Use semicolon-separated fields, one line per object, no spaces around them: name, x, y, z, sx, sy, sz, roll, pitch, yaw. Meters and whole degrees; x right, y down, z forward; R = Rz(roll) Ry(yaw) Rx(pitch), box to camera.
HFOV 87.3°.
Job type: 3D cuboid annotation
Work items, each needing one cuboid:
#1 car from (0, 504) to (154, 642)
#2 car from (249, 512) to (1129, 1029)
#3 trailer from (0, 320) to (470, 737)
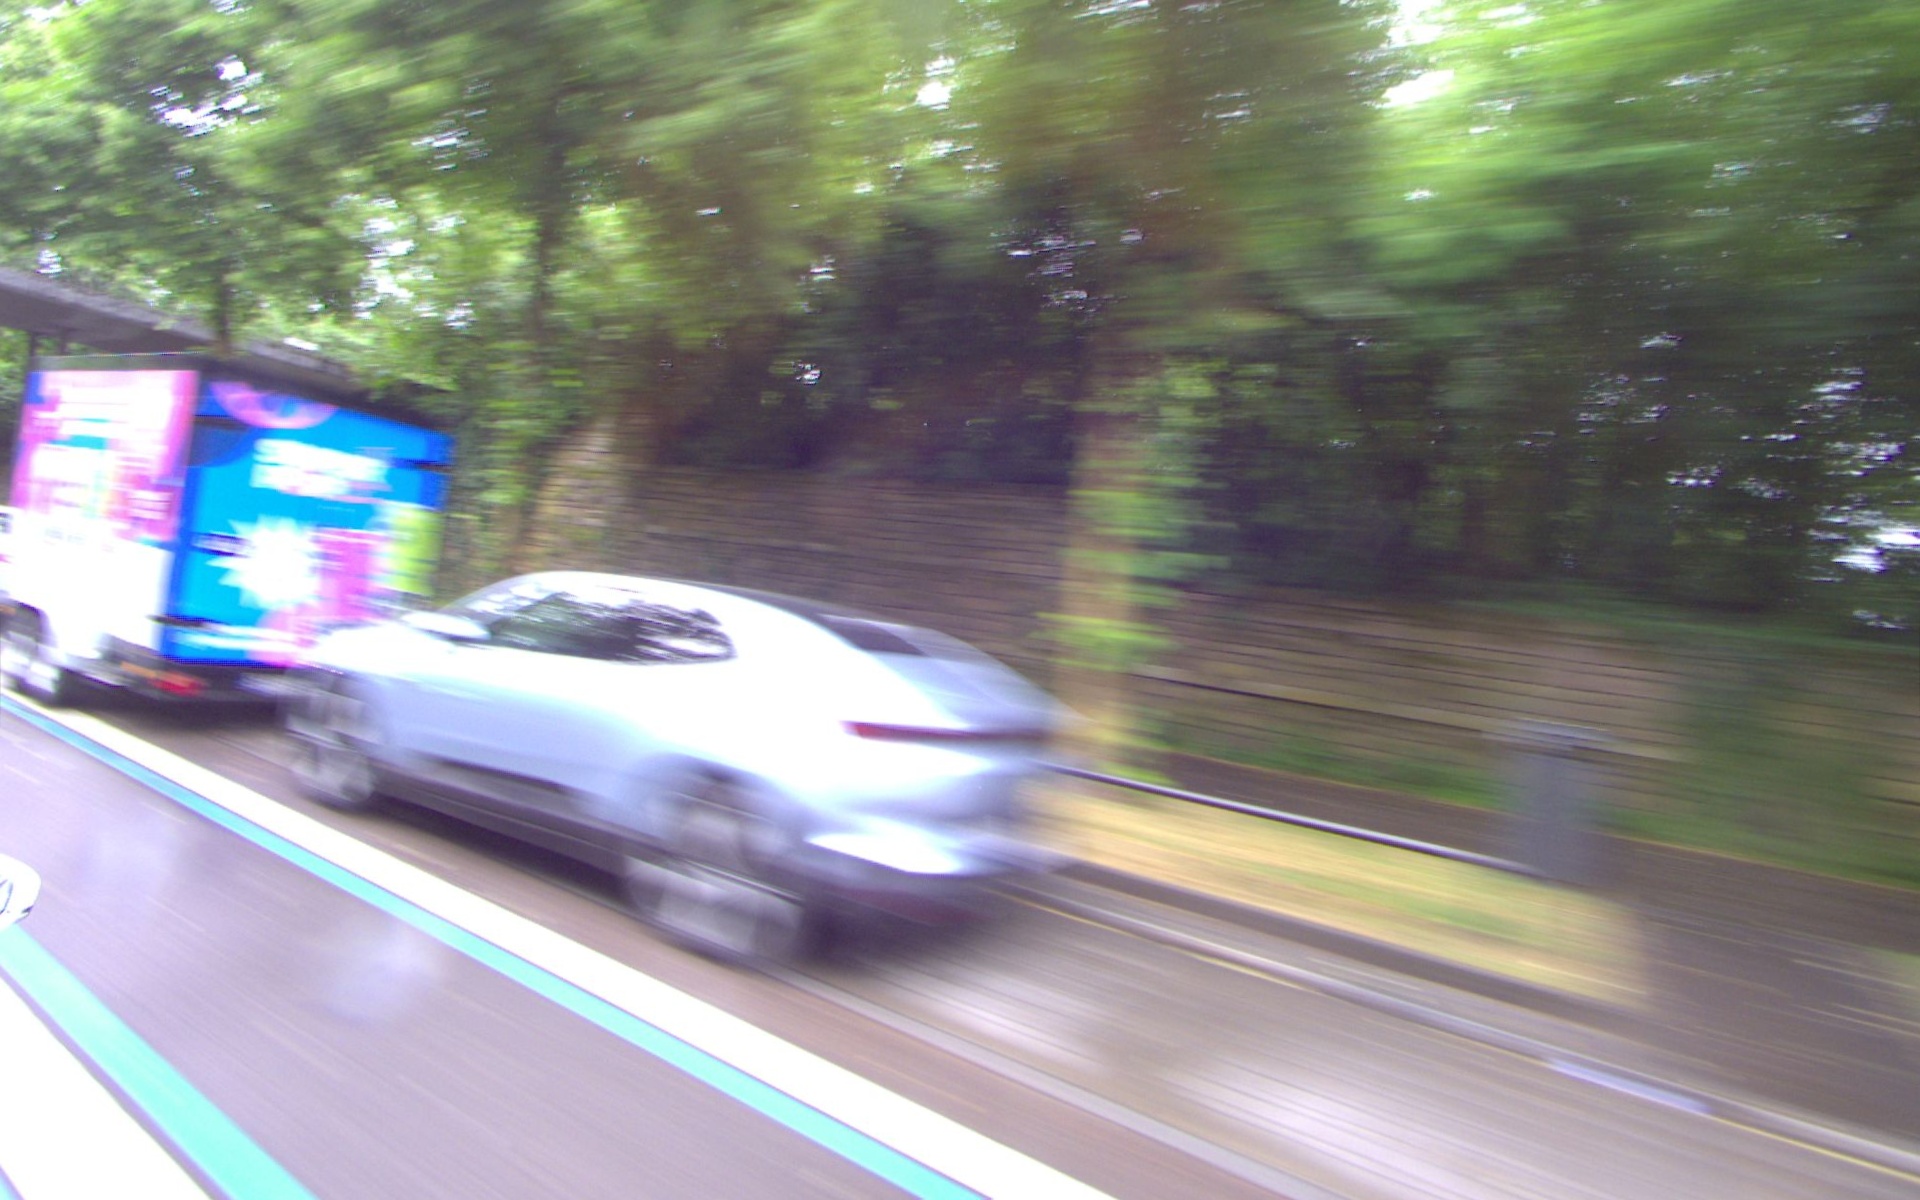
car;-11.654;-0.460;12.225;3.798;1.368;1.588;7;-2;31
car;-1.685;0.604;5.629;4.676;1.565;1.904;7;-2;31
trailer;-6.383;-0.577;8.596;3.942;2.791;1.955;7;-1;33
